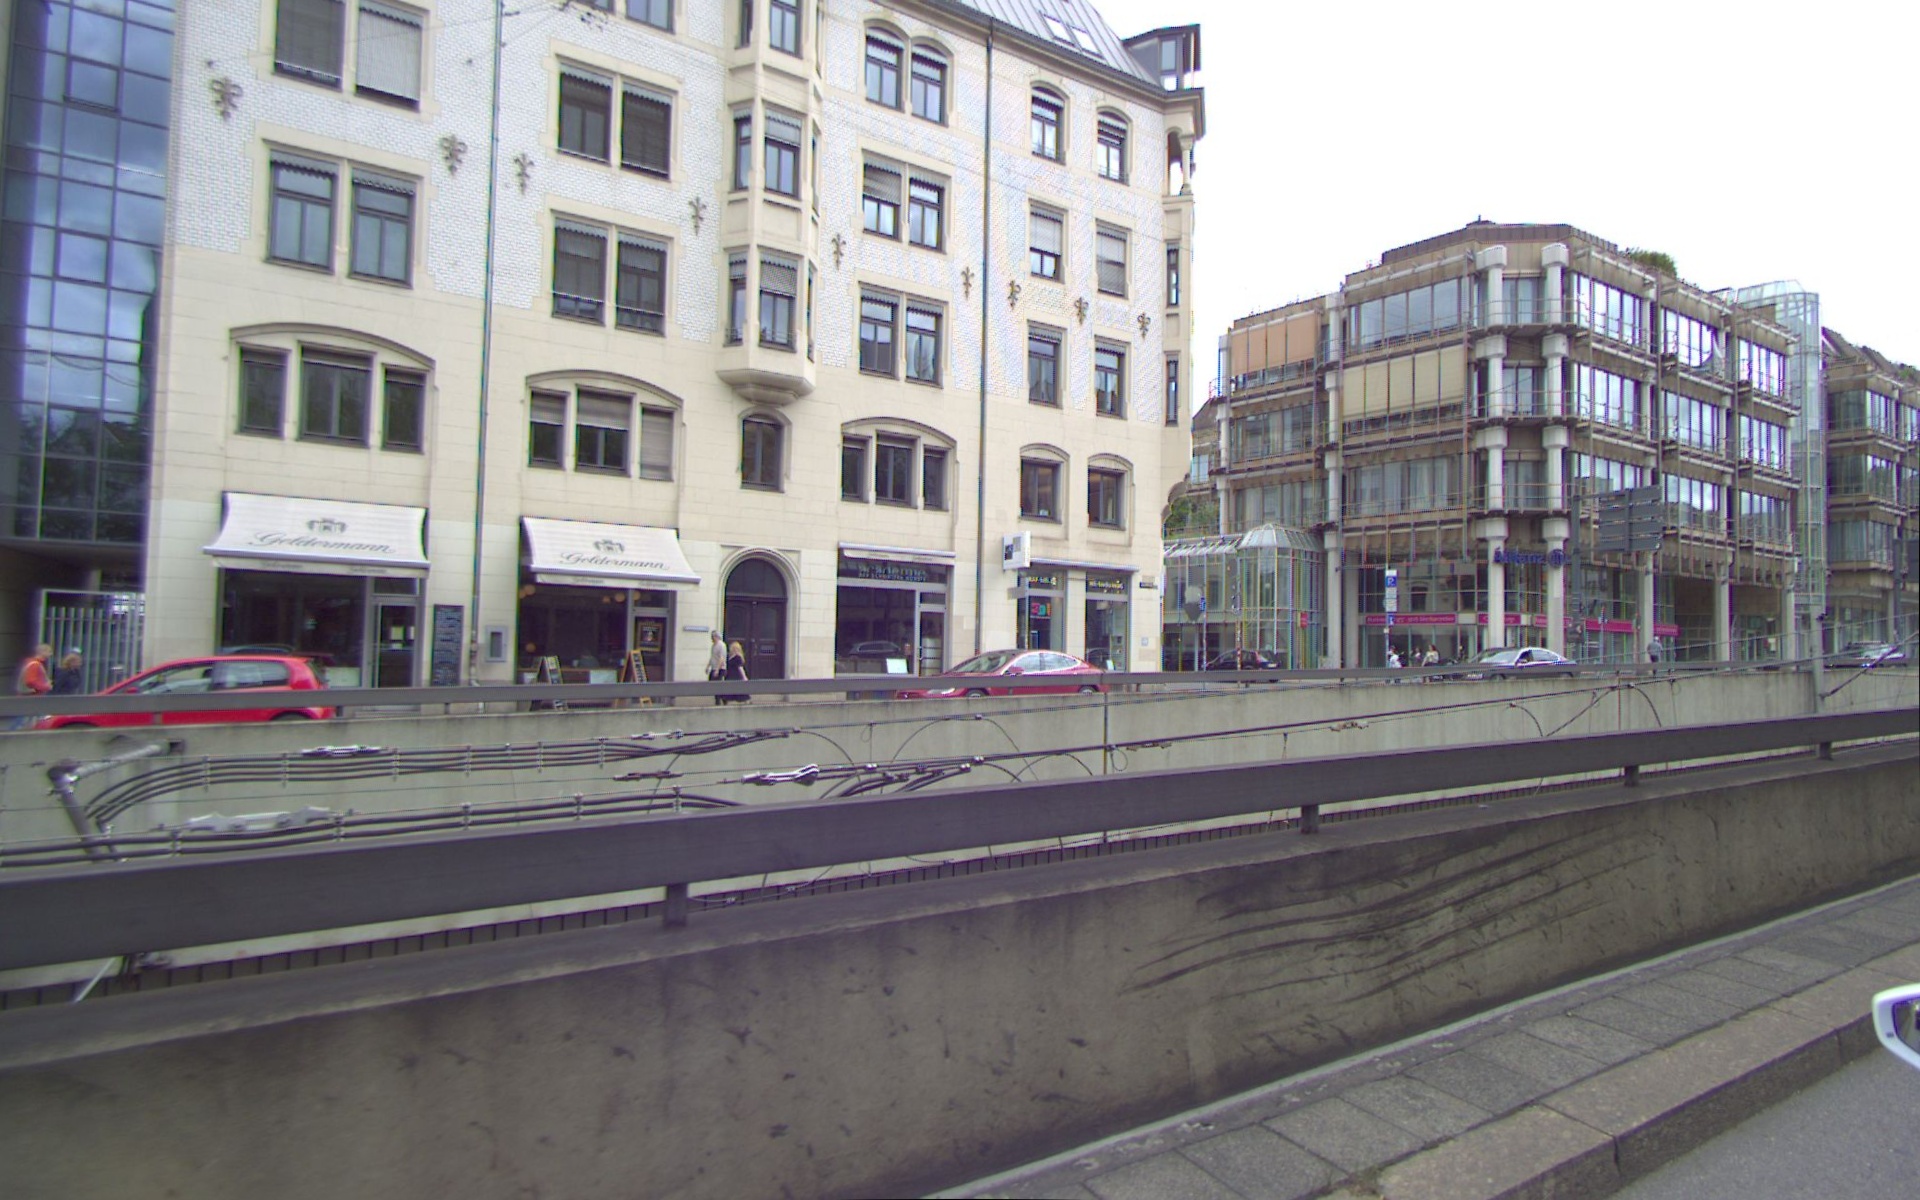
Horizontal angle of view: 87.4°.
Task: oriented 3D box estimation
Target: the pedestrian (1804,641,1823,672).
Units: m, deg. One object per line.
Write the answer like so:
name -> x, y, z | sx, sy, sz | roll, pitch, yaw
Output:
pedestrian -> 51.673, 3.389, 60.805 | 0.708, 1.848, 0.767 | 2, -3, -40

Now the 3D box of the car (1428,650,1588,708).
car -> 16.683, 2.339, 30.551 | 4.827, 1.606, 1.986 | 1, -3, -29

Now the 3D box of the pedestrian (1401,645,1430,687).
pedestrian -> 17.457, 2.513, 38.490 | 0.839, 1.564, 0.695 | 2, -3, -38

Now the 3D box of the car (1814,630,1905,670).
car -> 42.081, 2.339, 46.987 | 4.231, 1.791, 1.984 | 1, -3, -31

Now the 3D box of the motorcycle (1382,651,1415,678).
motorcycle -> 21.538, 3.154, 49.335 | 1.925, 1.273, 0.784 | 2, -3, -43

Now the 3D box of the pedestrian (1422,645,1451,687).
pedestrian -> 17.977, 2.482, 37.893 | 0.839, 1.564, 0.695 | 2, -3, -38

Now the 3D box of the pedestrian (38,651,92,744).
pedestrian -> -14.882, 1.602, 16.717 | 0.535, 1.494, 0.546 | 1, -2, -30

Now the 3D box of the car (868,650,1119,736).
car -> 0.746, 1.755, 19.935 | 4.840, 1.483, 1.980 | 2, -3, -37

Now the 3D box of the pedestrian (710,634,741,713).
pedestrian -> -5.314, 1.656, 22.779 | 0.576, 1.780, 0.477 | 1, -3, -29

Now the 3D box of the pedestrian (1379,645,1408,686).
pedestrian -> 16.861, 2.547, 39.085 | 0.839, 1.564, 0.695 | 2, -3, -38

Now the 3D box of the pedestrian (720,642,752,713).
pedestrian -> -4.989, 1.719, 22.344 | 0.576, 1.557, 0.477 | 1, -3, -30

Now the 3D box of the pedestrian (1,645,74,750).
pedestrian -> -14.510, 1.508, 15.818 | 0.704, 1.602, 0.580 | 1, -2, -30

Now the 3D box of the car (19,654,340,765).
car -> -11.283, 1.528, 14.874 | 3.543, 1.424, 1.778 | 1, -3, -32

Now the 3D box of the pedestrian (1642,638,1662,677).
pedestrian -> 32.371, 2.680, 46.974 | 0.686, 1.816, 0.530 | 1, -2, -30

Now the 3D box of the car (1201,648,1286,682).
car -> 12.489, 2.841, 44.428 | 1.631, 1.455, 3.429 | 1, -3, -31
